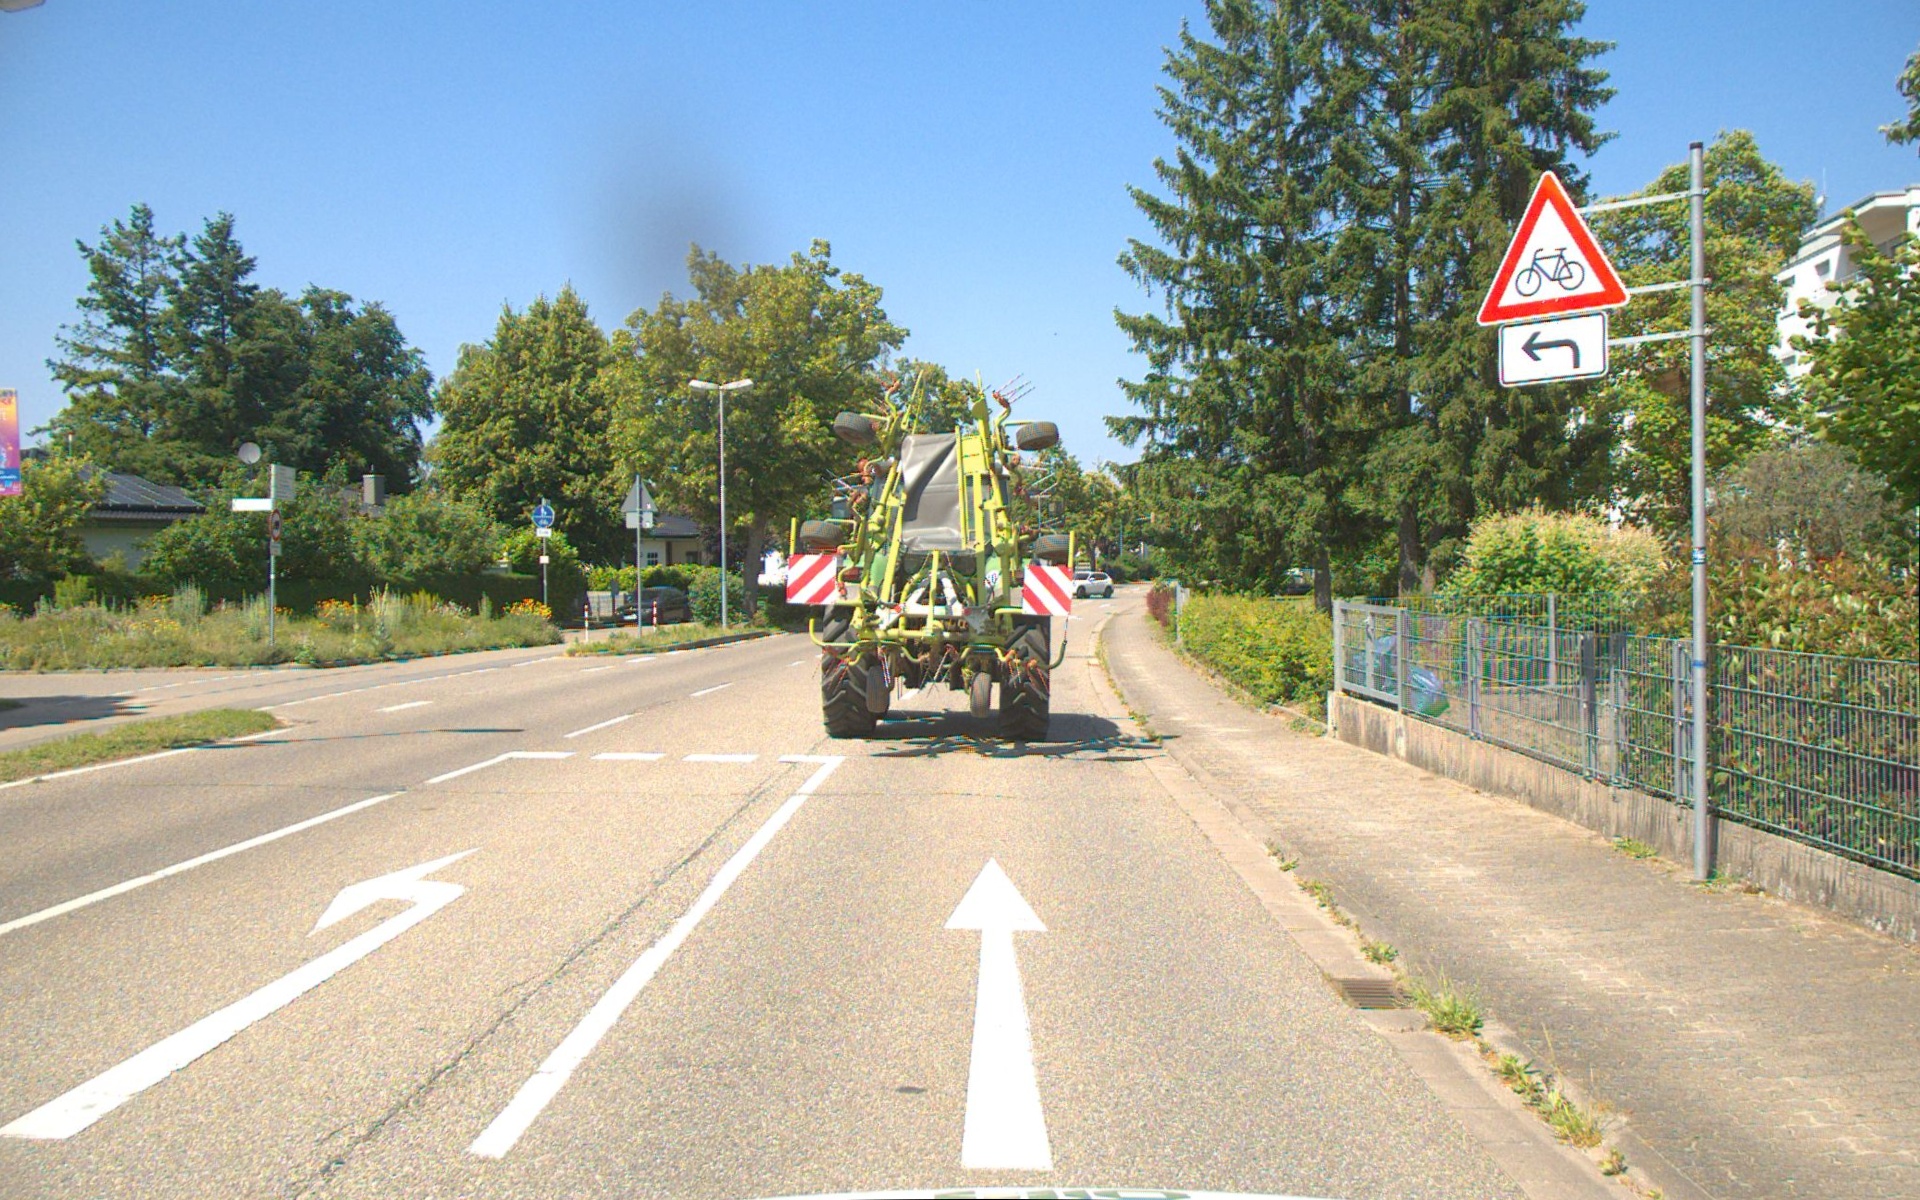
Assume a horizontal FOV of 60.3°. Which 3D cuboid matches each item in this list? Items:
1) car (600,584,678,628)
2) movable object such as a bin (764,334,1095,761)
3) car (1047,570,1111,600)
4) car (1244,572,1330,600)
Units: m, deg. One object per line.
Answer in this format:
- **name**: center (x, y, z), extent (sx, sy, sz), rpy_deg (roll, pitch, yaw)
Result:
- **car**: center (-12.014, 0.197, 62.052), extent (1.652, 1.556, 4.003), rpy_deg (0, 1, 8)
- **movable object such as a bin**: center (-0.106, -0.485, 18.855), extent (2.793, 3.603, 9.703), rpy_deg (0, 0, 2)
- **car**: center (7.015, -0.901, 97.180), extent (1.829, 1.745, 3.979), rpy_deg (0, 1, 40)
- **car**: center (15.913, -0.699, 80.568), extent (3.741, 1.317, 1.680), rpy_deg (0, 1, -10)
